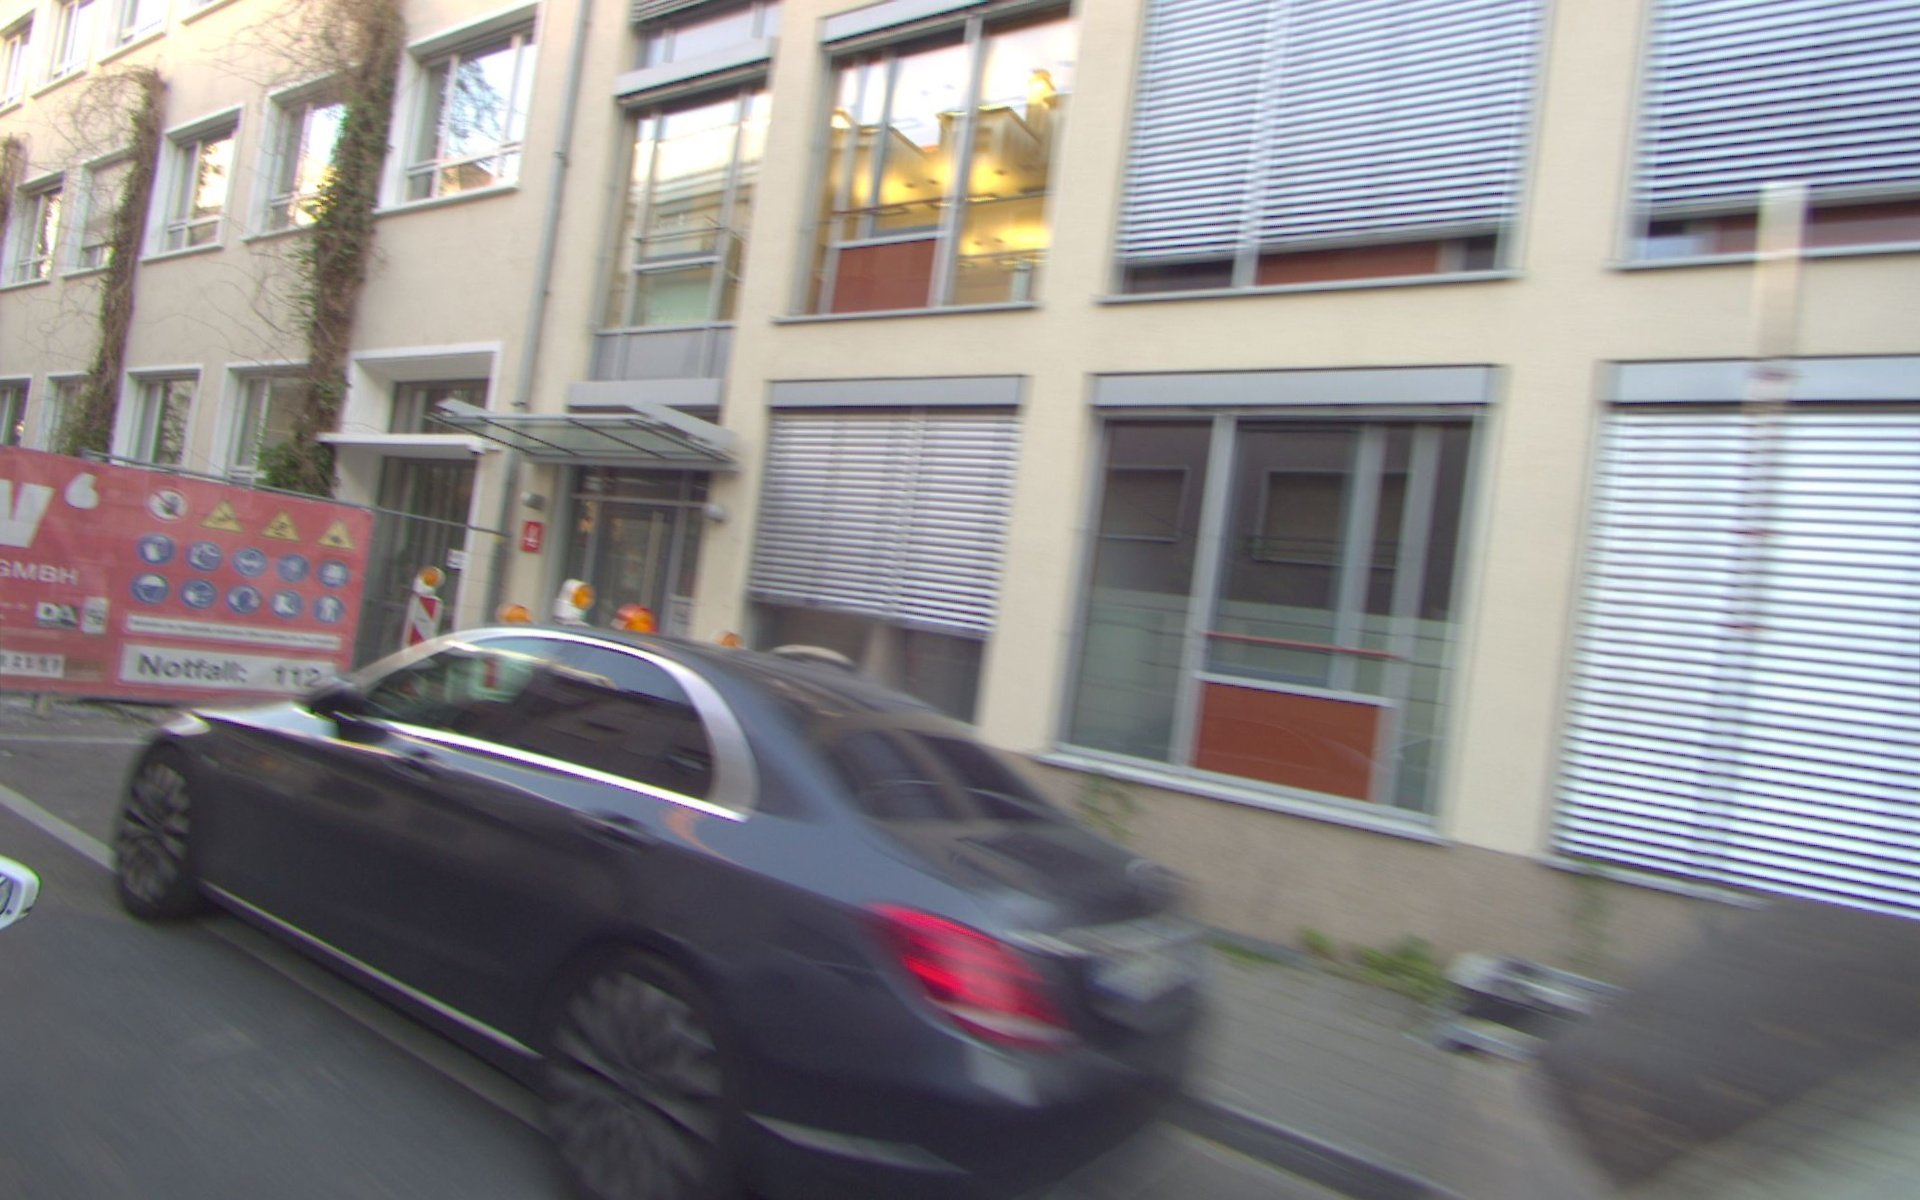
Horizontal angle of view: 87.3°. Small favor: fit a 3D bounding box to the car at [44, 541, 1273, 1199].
[{"bbox_3d":[-1.344,0.805,3.747,4.403,1.421,1.699,7,-3,30],"label":"car"}]
